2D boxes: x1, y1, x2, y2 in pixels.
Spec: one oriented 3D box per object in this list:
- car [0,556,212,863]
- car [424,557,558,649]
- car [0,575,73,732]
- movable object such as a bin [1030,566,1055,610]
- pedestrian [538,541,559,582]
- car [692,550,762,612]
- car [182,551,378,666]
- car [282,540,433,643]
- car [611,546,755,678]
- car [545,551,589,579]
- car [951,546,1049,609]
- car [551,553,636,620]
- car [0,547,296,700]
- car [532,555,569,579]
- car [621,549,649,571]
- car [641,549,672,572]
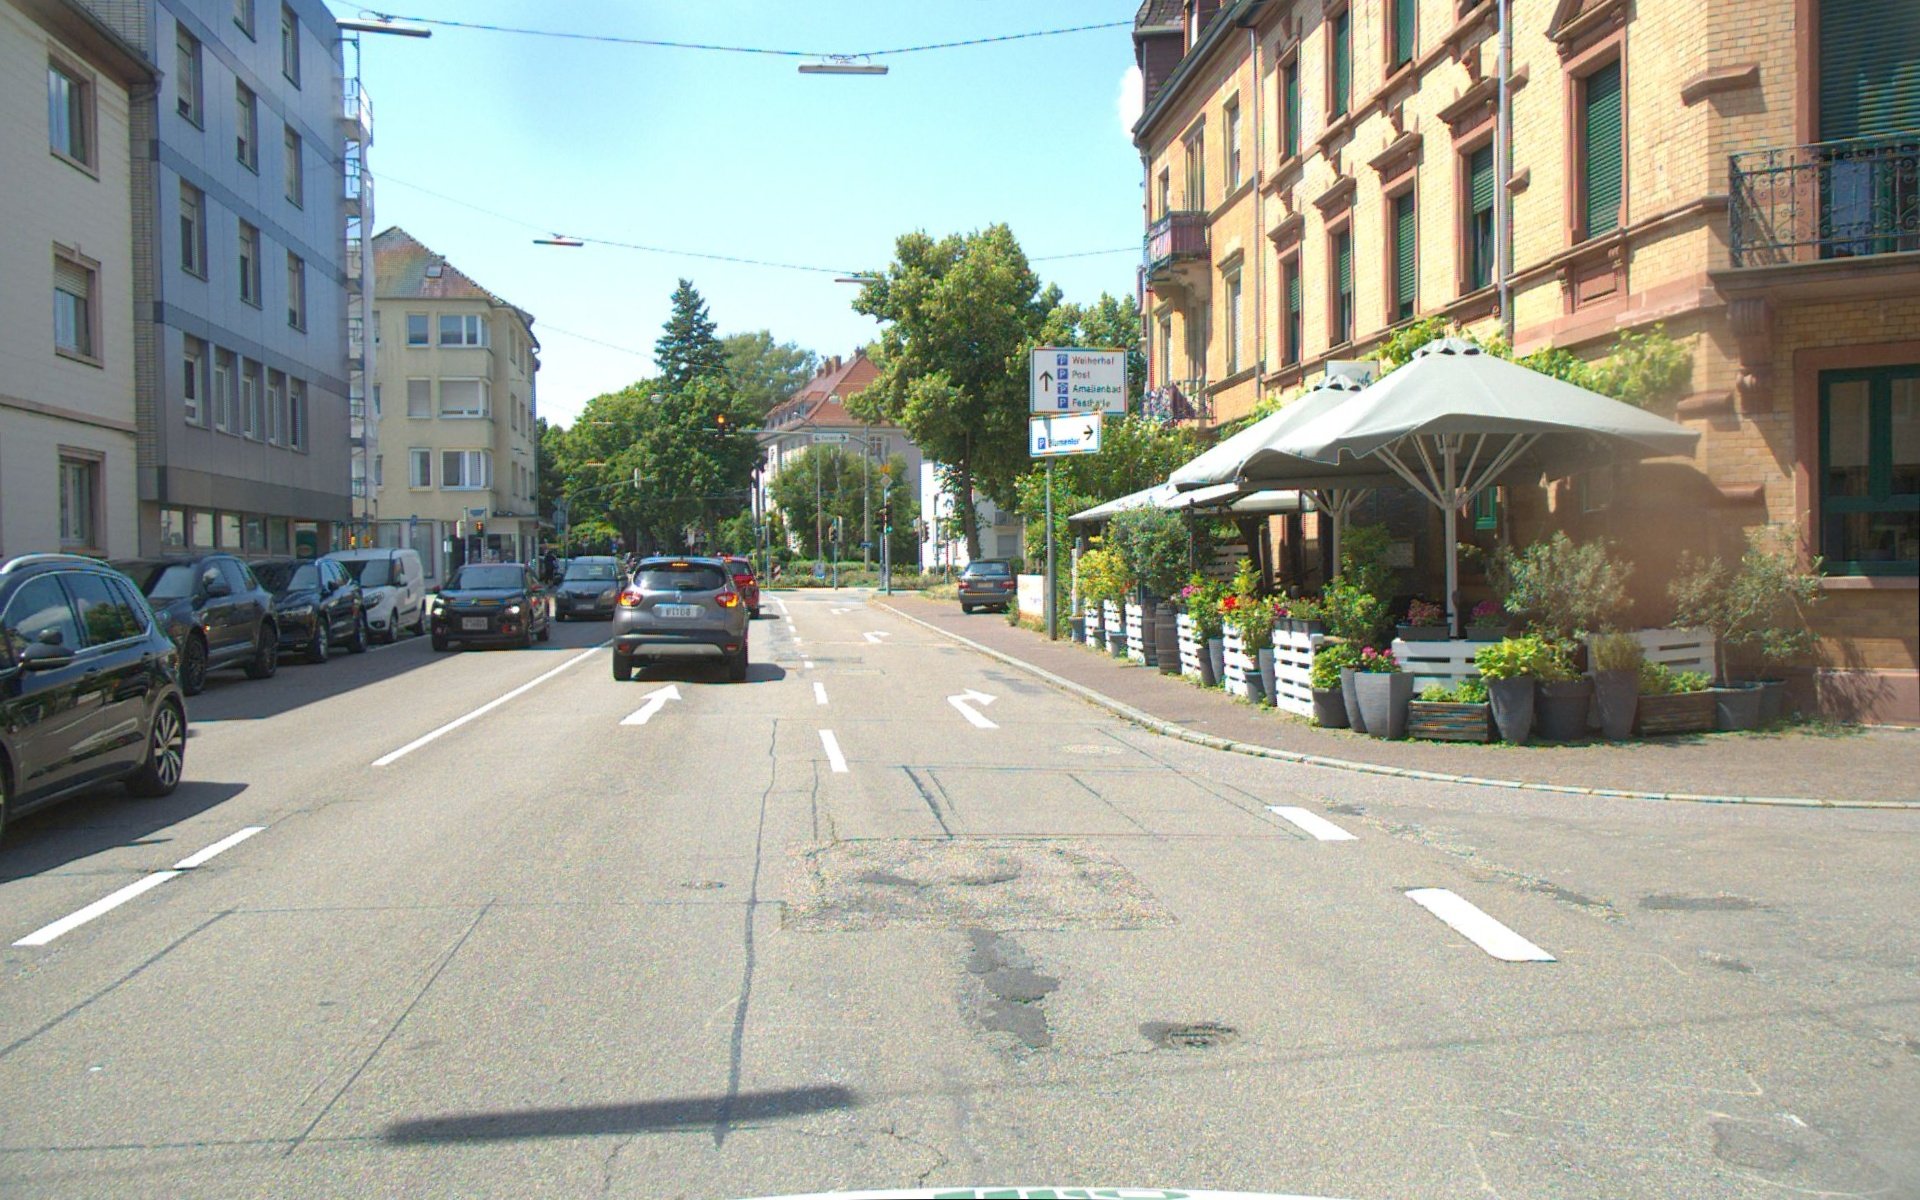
[{"bbox_3d":[-5.801,0.535,9.303,1.727,1.520,4.238,-2,2,-8],"label":"car"},{"bbox_3d":[-8.476,-0.005,30.221,1.669,1.503,4.128,-1,2,-7],"label":"car"},{"bbox_3d":[-9.618,0.575,14.360,1.831,1.430,4.827,-5,2,-10],"label":"car"},{"bbox_3d":[2.119,-0.310,42.329,0.635,1.090,0.637,0,1,3],"label":"movable object such as a bin"},{"bbox_3d":[-20.177,-1.891,81.149,0.921,1.965,0.972,-1,1,-19],"label":"pedestrian"},{"bbox_3d":[-6.223,-0.523,44.480,1.764,1.585,4.032,0,1,-7],"label":"car"},{"bbox_3d":[-11.060,0.076,27.248,1.850,1.669,4.654,-2,1,-8],"label":"car"},{"bbox_3d":[-12.044,-0.212,33.379,1.878,1.857,4.780,-2,1,-8],"label":"car"},{"bbox_3d":[-3.727,0.093,22.797,1.720,1.660,3.995,0,2,-6],"label":"car"},{"bbox_3d":[-22.658,-2.000,95.259,1.965,1.545,3.976,0,0,-20],"label":"car"},{"bbox_3d":[1.210,-0.683,47.349,1.795,1.575,5.162,-1,3,13],"label":"car"},{"bbox_3d":[-9.423,-0.397,42.812,1.669,1.602,4.306,-1,2,-7],"label":"car"},{"bbox_3d":[-10.192,0.210,21.166,1.849,1.669,4.811,-2,1,-6],"label":"car"},{"bbox_3d":[-26.792,-2.178,108.075,1.964,1.536,3.977,-1,1,-20],"label":"car"},{"bbox_3d":[-29.184,-3.571,148.330,1.964,1.939,3.978,0,2,-19],"label":"car"},{"bbox_3d":[-24.905,-3.281,135.624,1.964,1.839,3.978,0,2,-19],"label":"car"}]
